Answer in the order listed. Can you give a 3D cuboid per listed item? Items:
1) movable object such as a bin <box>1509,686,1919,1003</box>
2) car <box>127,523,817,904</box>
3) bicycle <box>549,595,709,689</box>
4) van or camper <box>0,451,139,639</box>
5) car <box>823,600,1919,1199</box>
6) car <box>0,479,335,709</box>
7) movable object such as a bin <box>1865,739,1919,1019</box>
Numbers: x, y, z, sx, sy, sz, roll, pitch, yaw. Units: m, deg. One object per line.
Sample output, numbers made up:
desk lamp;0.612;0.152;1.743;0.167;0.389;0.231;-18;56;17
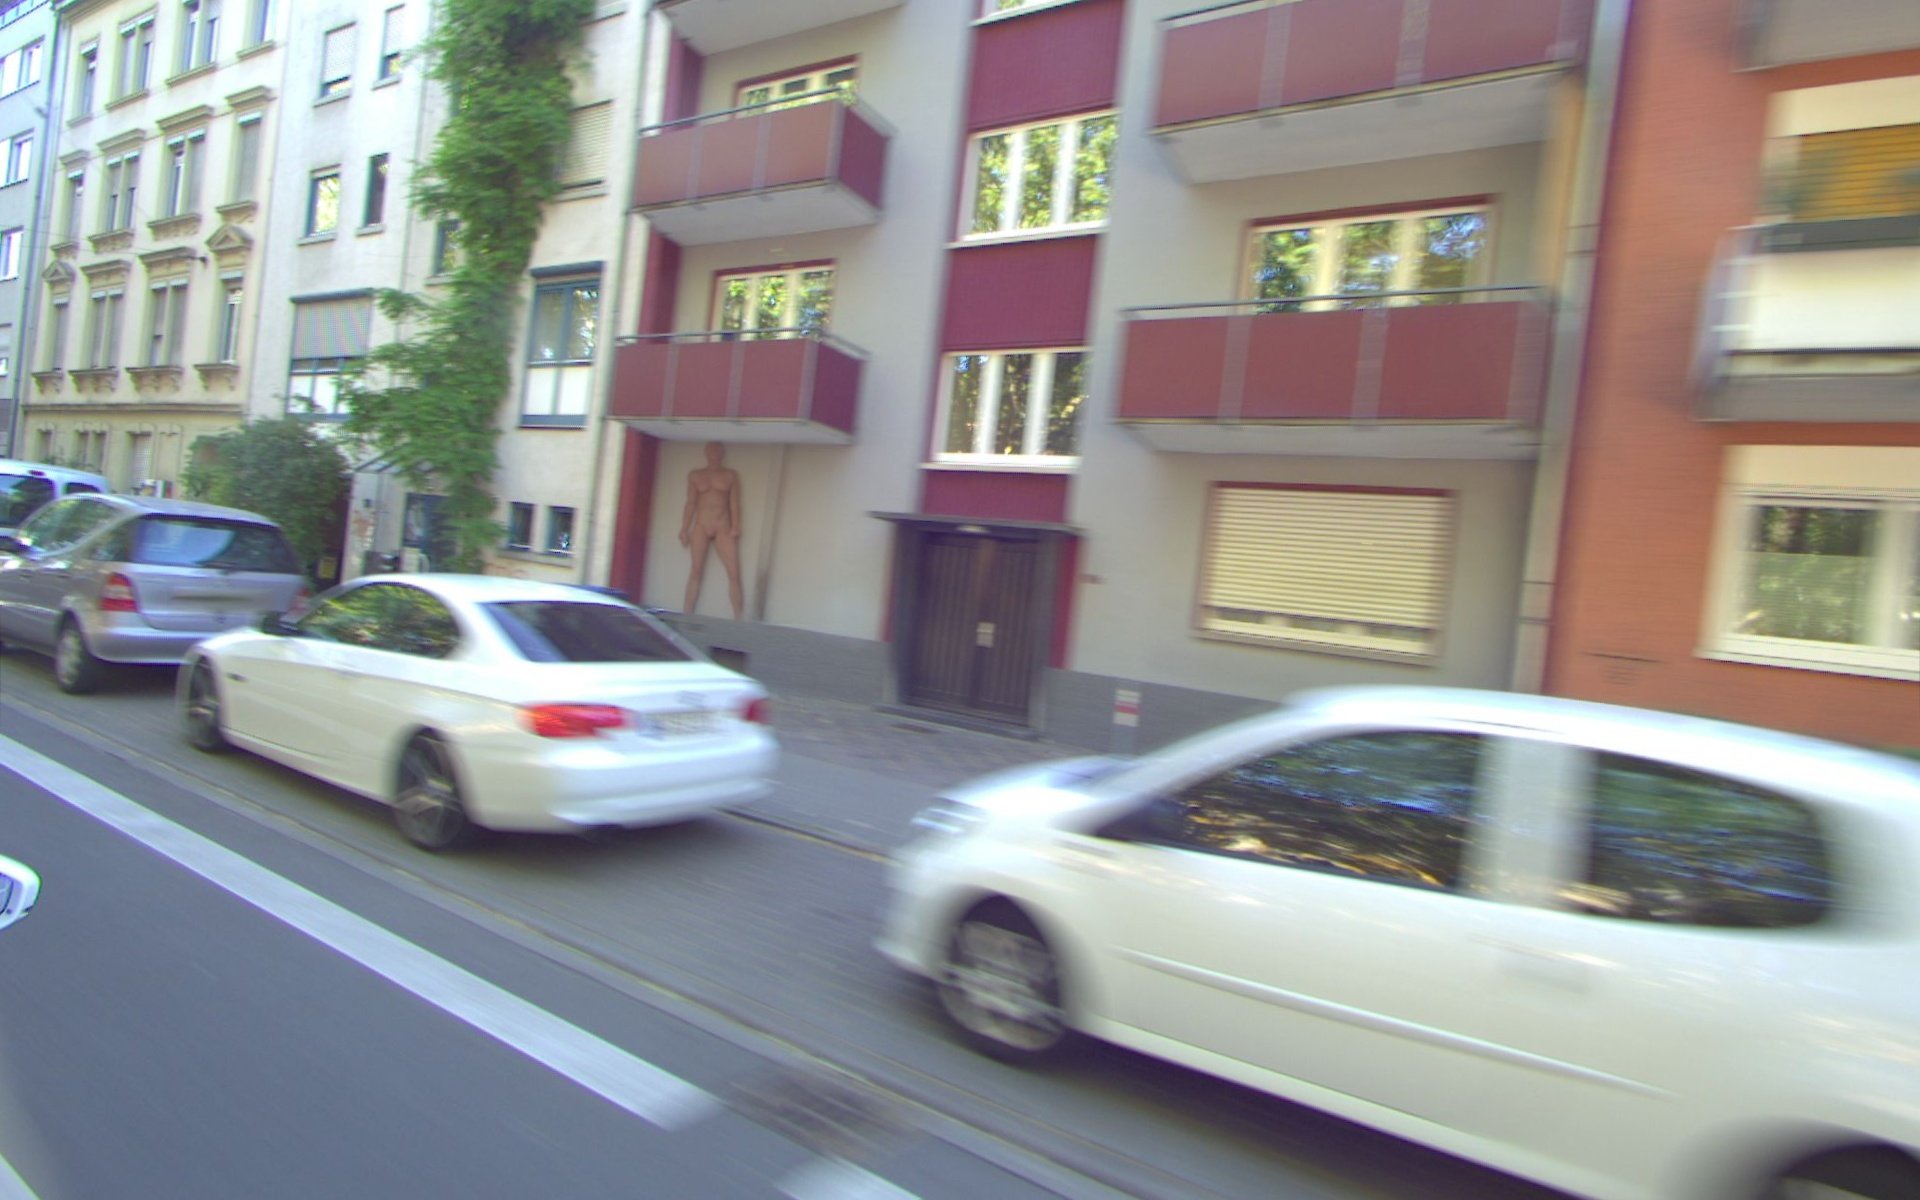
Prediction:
movable object such as a bin;4.207;1.287;5.808;1.654;1.343;0.925;7;-1;32
car;-3.302;0.450;6.434;4.660;1.418;1.660;7;2;31
bicycle;-4.060;0.521;12.467;0.469;1.043;1.892;7;2;36
van or camper;-11.444;-0.763;11.572;4.139;1.907;1.670;7;2;30
car;1.535;0.973;3.553;3.772;1.547;1.591;6;2;32
car;-7.429;-0.139;9.011;3.529;1.601;1.660;7;2;32
movable object such as a bin;5.717;1.500;4.889;1.693;1.343;0.968;7;-1;32
